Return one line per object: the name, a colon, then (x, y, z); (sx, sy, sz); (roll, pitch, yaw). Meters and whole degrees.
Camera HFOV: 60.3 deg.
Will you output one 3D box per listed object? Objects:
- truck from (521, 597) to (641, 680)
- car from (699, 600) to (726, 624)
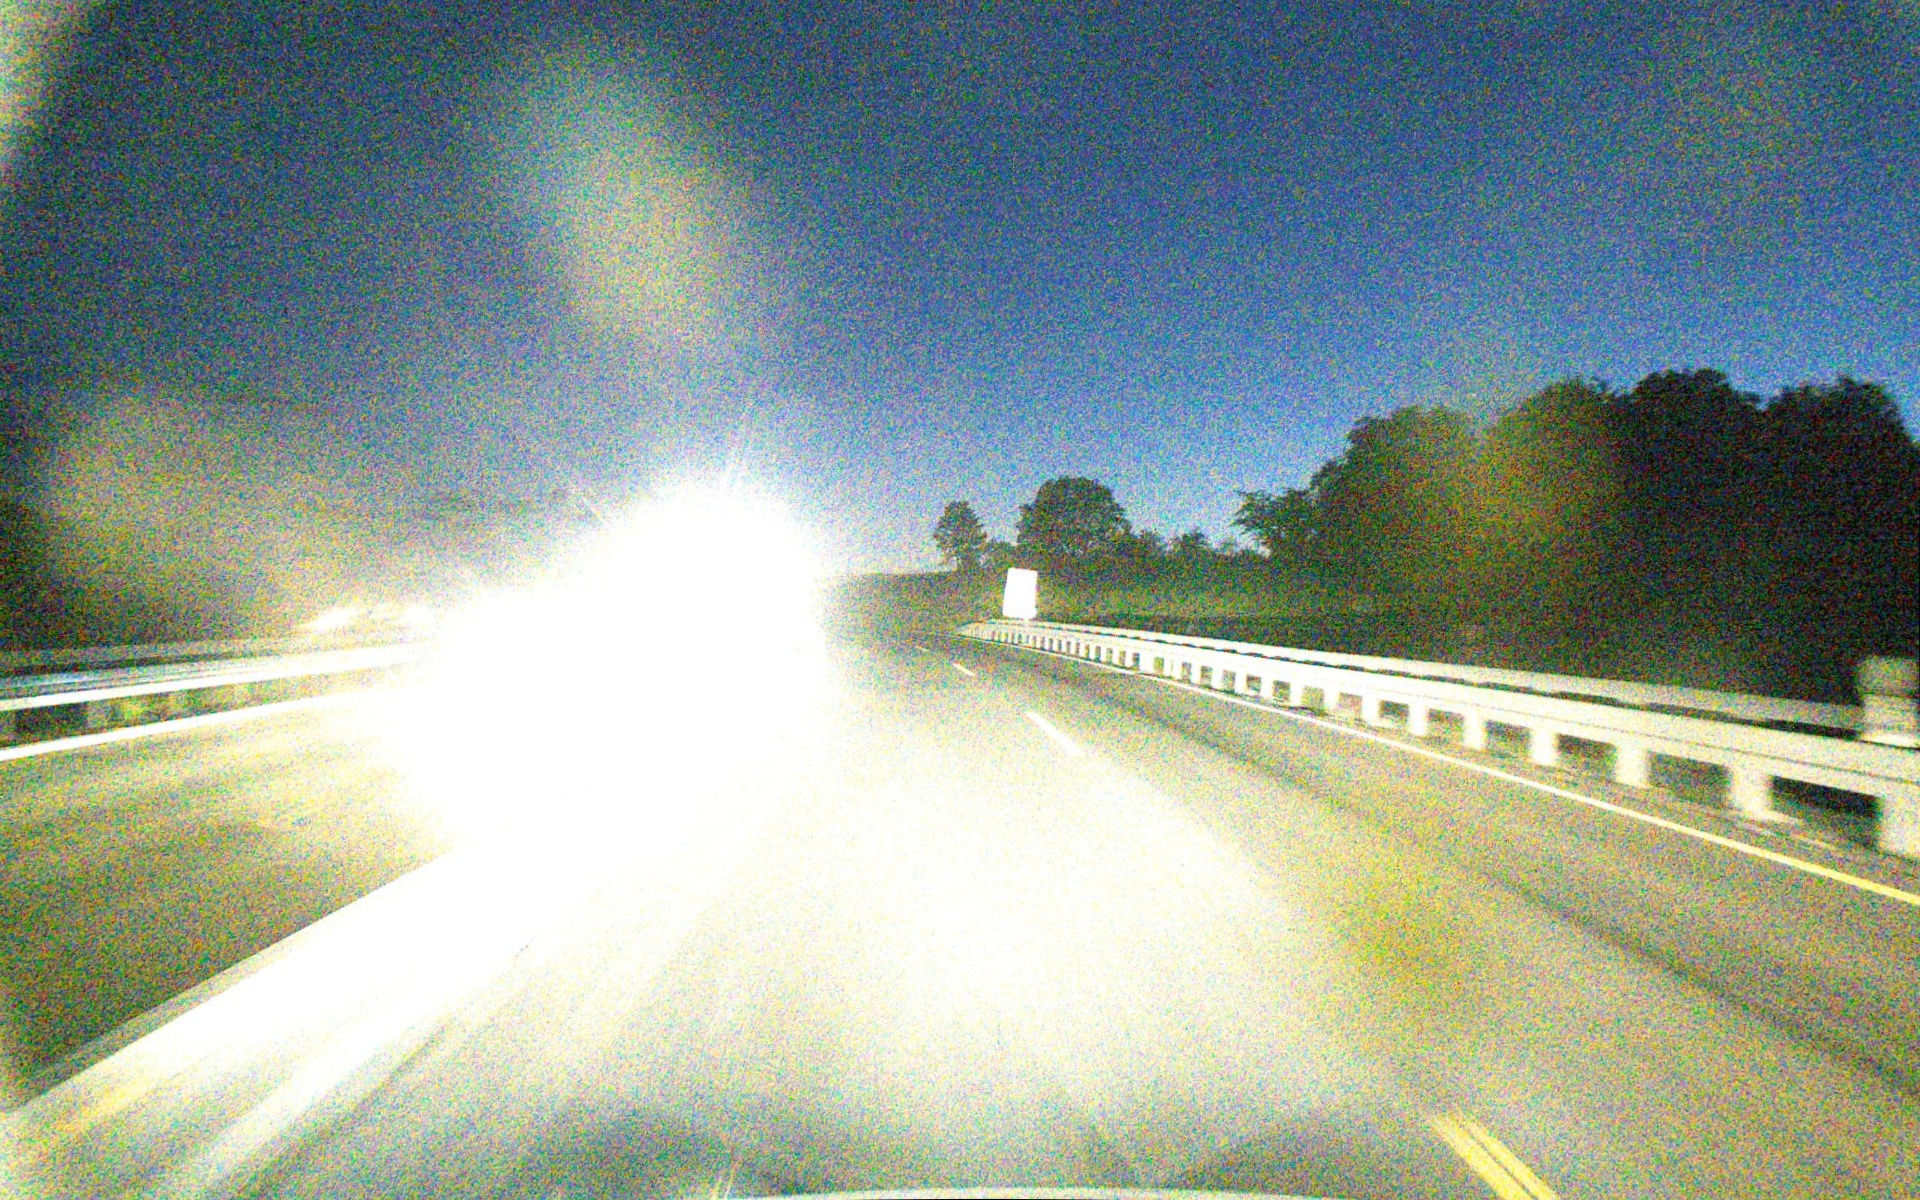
truck: (-7.356, 0.745, 32.465); (1.650, 1.495, 4.149); (1, -1, -4)
car: (-16.012, 0.776, 107.042); (1.680, 1.469, 4.478); (-1, -1, -8)
